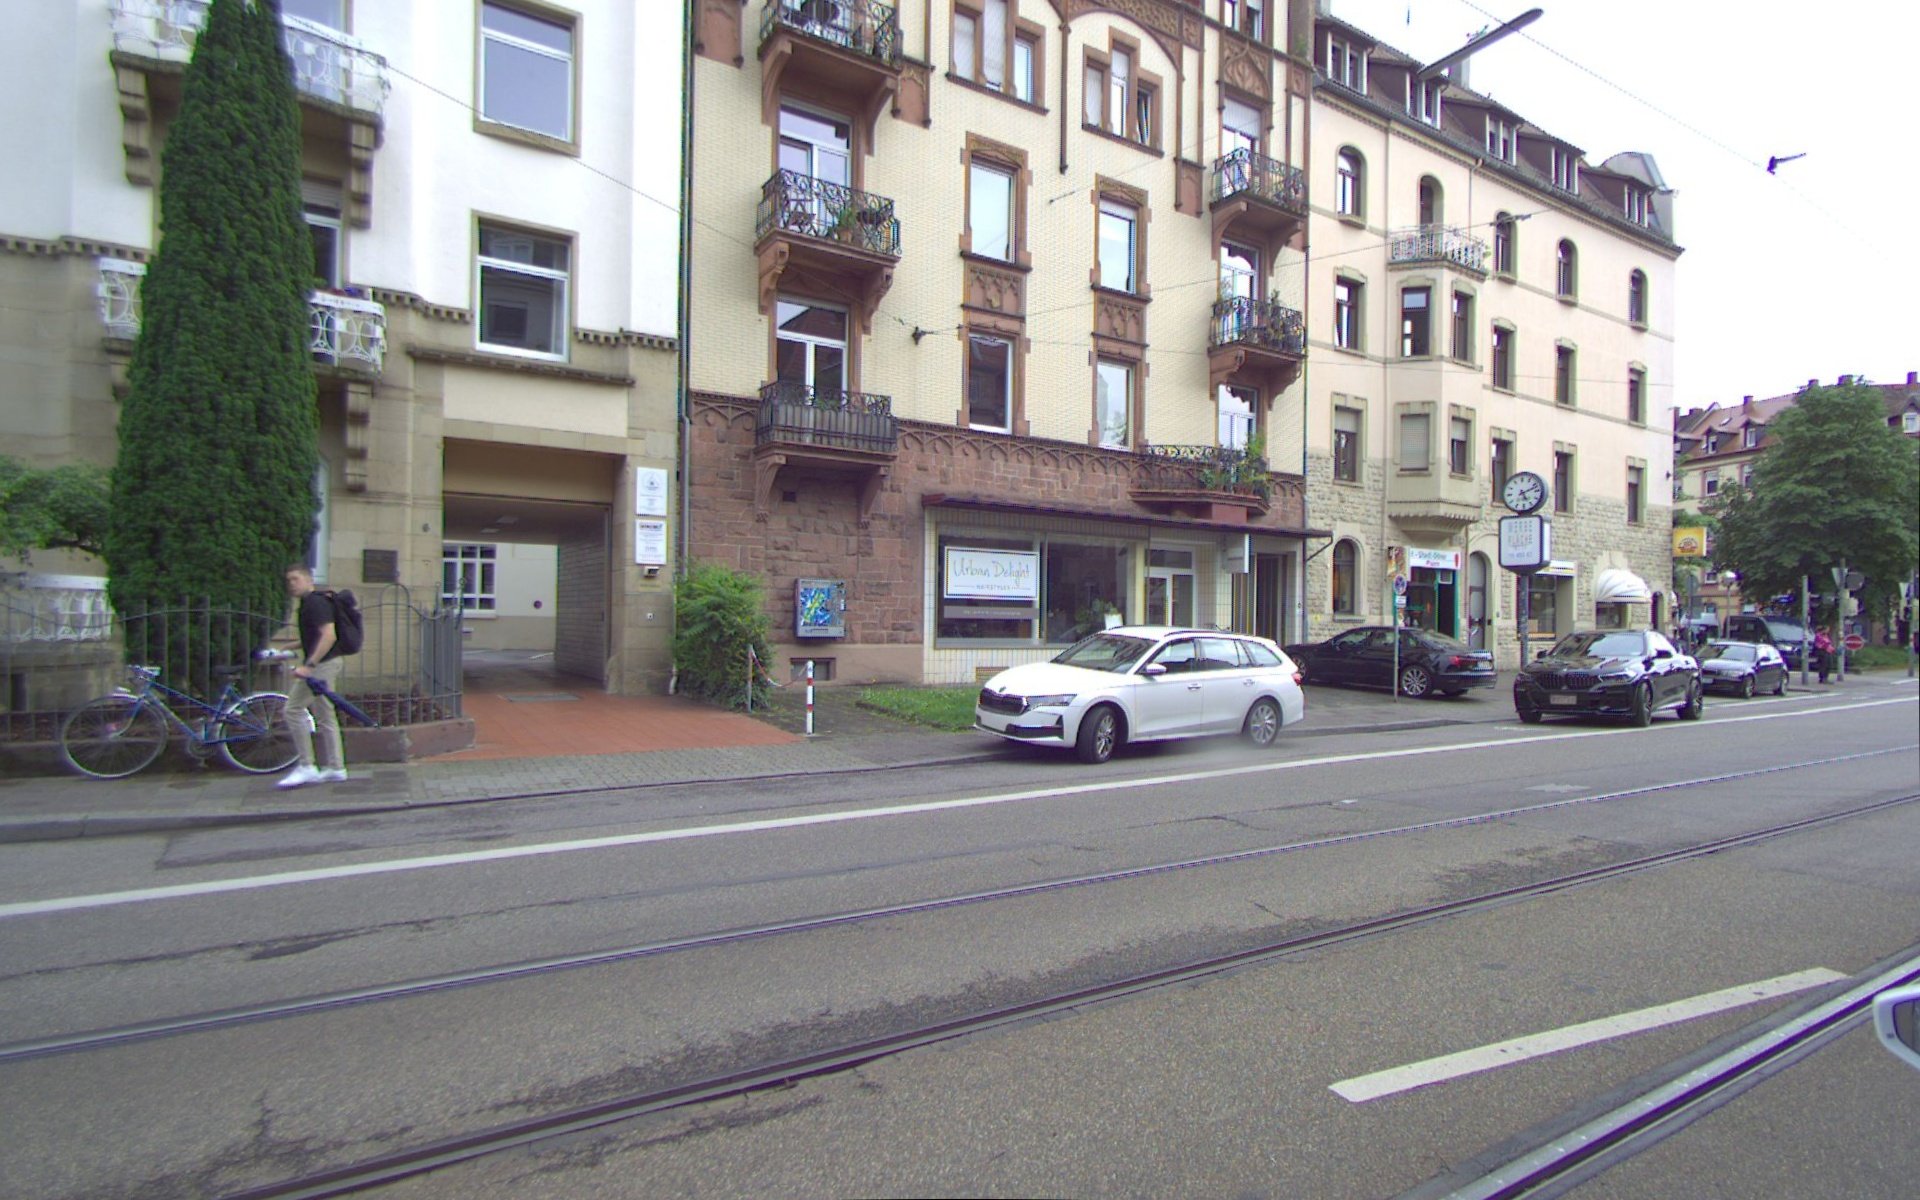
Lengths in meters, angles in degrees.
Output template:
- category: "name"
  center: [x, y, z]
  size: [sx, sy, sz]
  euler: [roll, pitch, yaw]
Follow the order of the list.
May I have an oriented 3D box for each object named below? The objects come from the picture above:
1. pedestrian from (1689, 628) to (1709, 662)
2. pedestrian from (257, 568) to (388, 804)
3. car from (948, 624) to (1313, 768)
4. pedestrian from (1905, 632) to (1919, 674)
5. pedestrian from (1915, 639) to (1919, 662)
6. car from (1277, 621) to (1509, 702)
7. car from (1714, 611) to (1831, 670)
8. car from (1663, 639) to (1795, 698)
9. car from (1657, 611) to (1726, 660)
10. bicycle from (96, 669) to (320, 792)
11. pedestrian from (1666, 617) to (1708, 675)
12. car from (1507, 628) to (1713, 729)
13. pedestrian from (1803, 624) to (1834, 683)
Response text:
- category: "pedestrian"
  center: [37.282, 2.263, 50.688]
  size: [0.686, 1.738, 0.552]
  euler: [0, -1, 18]
- category: "pedestrian"
  center: [-5.363, 0.695, 8.475]
  size: [0.873, 1.868, 0.664]
  euler: [1, -2, -33]
- category: "car"
  center: [2.229, 1.077, 12.555]
  size: [4.560, 1.504, 1.737]
  euler: [2, -2, -33]
- category: "pedestrian"
  center: [38.464, 2.125, 40.195]
  size: [0.584, 1.685, 0.832]
  euler: [1, -1, -30]
- category: "pedestrian"
  center: [50.178, 2.607, 52.196]
  size: [0.579, 1.184, 0.843]
  euler: [0, -1, 29]
- category: "car"
  center: [9.529, 1.286, 22.428]
  size: [1.862, 1.388, 4.394]
  euler: [2, 1, -36]
- category: "car"
  center: [36.573, 1.790, 45.416]
  size: [2.142, 2.449, 5.383]
  euler: [0, -1, 16]
- category: "car"
  center: [20.919, 1.815, 27.293]
  size: [4.088, 1.380, 1.638]
  euler: [2, 1, -35]
- category: "car"
  center: [40.031, 1.922, 55.097]
  size: [2.145, 2.560, 5.375]
  euler: [0, -1, 26]
- category: "bicycle"
  center: [-6.396, 1.085, 8.626]
  size: [1.499, 0.950, 0.330]
  euler: [1, -1, -33]
- category: "pedestrian"
  center: [26.049, 1.650, 36.007]
  size: [0.826, 2.040, 0.969]
  euler: [1, -2, -32]
- category: "car"
  center: [12.050, 1.382, 18.482]
  size: [4.849, 1.632, 1.867]
  euler: [2, -4, -41]
- category: "pedestrian"
  center: [27.917, 1.728, 32.664]
  size: [0.603, 1.867, 0.619]
  euler: [1, -1, -34]
